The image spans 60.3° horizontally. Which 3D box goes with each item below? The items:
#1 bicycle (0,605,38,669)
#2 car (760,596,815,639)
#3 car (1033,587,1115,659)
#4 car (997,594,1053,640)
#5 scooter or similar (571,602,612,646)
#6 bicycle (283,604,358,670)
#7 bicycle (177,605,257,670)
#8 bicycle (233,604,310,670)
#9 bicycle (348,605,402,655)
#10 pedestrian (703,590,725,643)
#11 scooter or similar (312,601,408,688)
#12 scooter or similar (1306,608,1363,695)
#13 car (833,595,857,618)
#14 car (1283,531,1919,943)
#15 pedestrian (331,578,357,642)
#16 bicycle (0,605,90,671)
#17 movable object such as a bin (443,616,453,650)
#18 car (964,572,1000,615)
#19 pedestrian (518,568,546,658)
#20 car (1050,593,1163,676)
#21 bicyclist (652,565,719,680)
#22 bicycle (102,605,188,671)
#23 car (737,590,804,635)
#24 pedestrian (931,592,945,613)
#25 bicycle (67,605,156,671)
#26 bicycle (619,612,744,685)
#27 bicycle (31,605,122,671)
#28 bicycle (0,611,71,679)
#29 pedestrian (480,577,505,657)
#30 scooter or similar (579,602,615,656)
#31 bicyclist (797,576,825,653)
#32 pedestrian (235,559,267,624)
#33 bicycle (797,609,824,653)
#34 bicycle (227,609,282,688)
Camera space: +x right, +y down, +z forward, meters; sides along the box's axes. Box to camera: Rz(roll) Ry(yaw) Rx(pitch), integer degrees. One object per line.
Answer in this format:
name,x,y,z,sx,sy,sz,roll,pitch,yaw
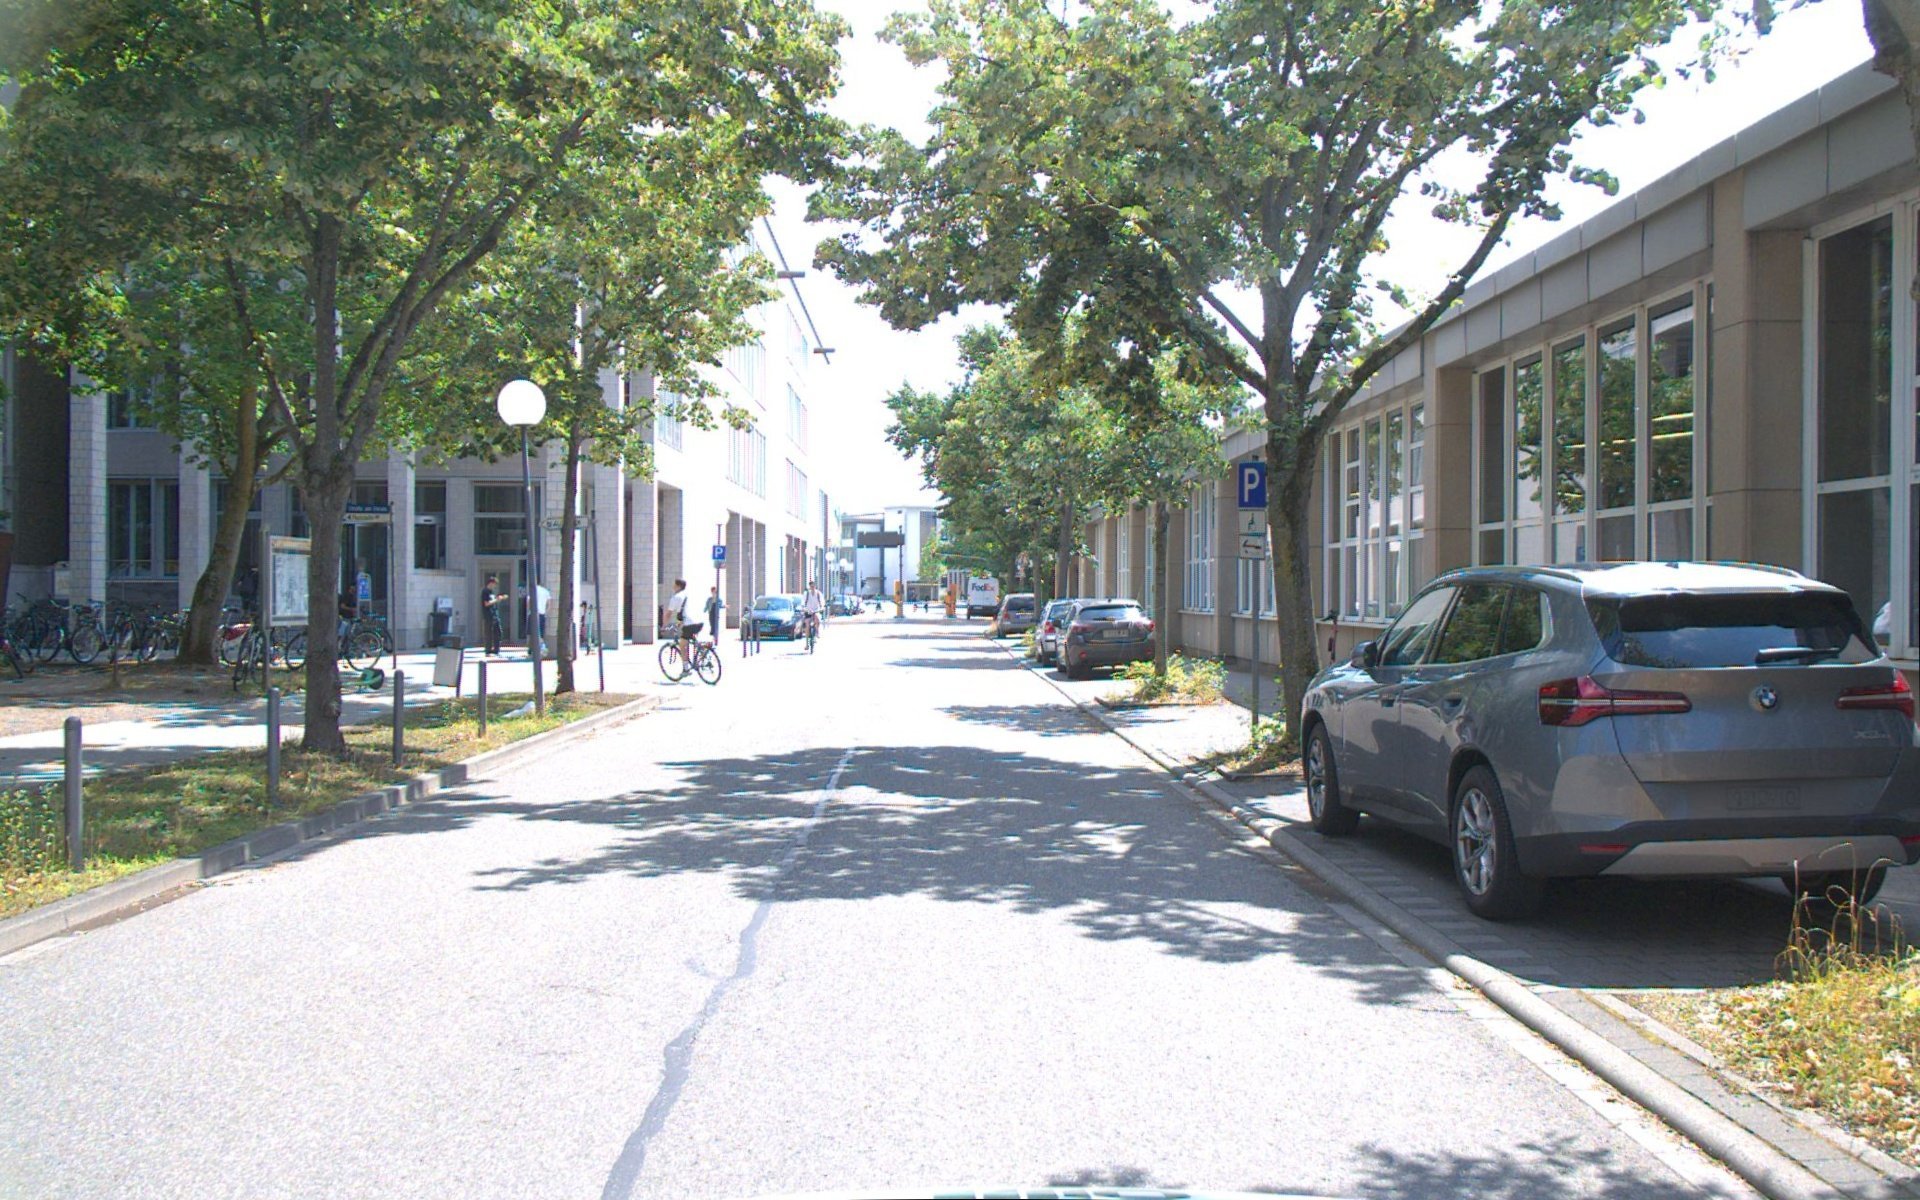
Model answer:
bicycle,-17.057,0.647,29.106,0.540,1.105,1.972,2,0,-1
car,-6.314,0.648,60.793,1.597,1.511,4.177,1,0,-1
car,2.608,0.506,38.420,1.583,1.565,3.779,1,0,-1
car,2.350,0.601,60.677,1.820,1.601,3.999,-1,0,-1
scooter or similar,-10.464,0.674,46.909,0.521,1.231,1.537,1,0,-38
bicycle,-11.294,0.635,29.275,0.540,1.105,1.972,2,0,-1
bicycle,-13.324,0.655,29.719,0.540,1.105,1.972,2,0,-1
bicycle,-12.229,0.644,29.448,0.540,1.105,1.972,2,0,-1
bicycle,-13.214,0.661,37.413,0.455,1.032,1.866,2,2,3
pedestrian,-8.054,0.539,54.099,0.638,1.731,0.887,1,0,-12
scooter or similar,-8.530,0.626,23.556,0.333,1.196,1.324,1,0,34
scooter or similar,5.698,0.767,25.208,0.500,1.271,1.485,-1,0,-1
car,-8.420,0.493,121.409,1.612,1.524,3.727,0,-2,-1
car,3.244,0.597,9.207,1.786,1.693,4.581,-1,-1,-3
pedestrian,-13.729,0.218,36.864,0.457,1.407,0.443,-1,3,-11
bicycle,-16.235,0.652,29.348,0.540,1.105,1.972,2,0,-1
movable object such as a bin,-13.768,0.886,44.471,0.165,0.910,0.448,0,0,-6
car,1.339,-0.417,102.531,2.041,2.584,4.314,1,0,-1
pedestrian,-9.541,0.289,36.864,0.408,1.976,0.656,1,0,-30
car,2.830,0.638,32.839,1.744,1.502,4.461,-1,0,-1
bicyclist,-4.958,0.397,29.859,0.869,2.049,0.836,1,0,-44
bicycle,-14.445,0.647,29.355,0.540,1.105,1.972,2,0,-1
car,-6.341,0.414,55.753,1.730,1.452,4.234,1,0,1
pedestrian,-2.237,0.227,167.943,1.388,2.144,0.994,1,0,-4
bicycle,-14.998,0.646,29.277,0.540,1.105,1.972,2,0,-1
bicycle,-5.077,0.849,29.967,0.878,1.220,2.705,1,0,-43
bicycle,-15.593,0.647,29.236,0.540,1.105,1.972,2,0,-1
bicycle,-13.839,0.657,24.766,0.467,0.982,1.651,1,0,-12
pedestrian,-10.645,0.394,37.643,0.436,1.806,0.446,1,0,-32
scooter or similar,-8.679,0.680,39.612,0.445,1.245,1.549,0,0,3
bicyclist,-4.083,0.391,45.254,0.697,2.049,1.018,-1,0,-3
pedestrian,-18.474,-0.218,43.106,0.627,1.690,0.686,1,0,-35
bicycle,-4.076,0.840,45.215,0.671,1.149,1.887,0,0,-3
bicycle,-9.813,0.651,23.032,0.375,1.043,1.809,1,0,-13
